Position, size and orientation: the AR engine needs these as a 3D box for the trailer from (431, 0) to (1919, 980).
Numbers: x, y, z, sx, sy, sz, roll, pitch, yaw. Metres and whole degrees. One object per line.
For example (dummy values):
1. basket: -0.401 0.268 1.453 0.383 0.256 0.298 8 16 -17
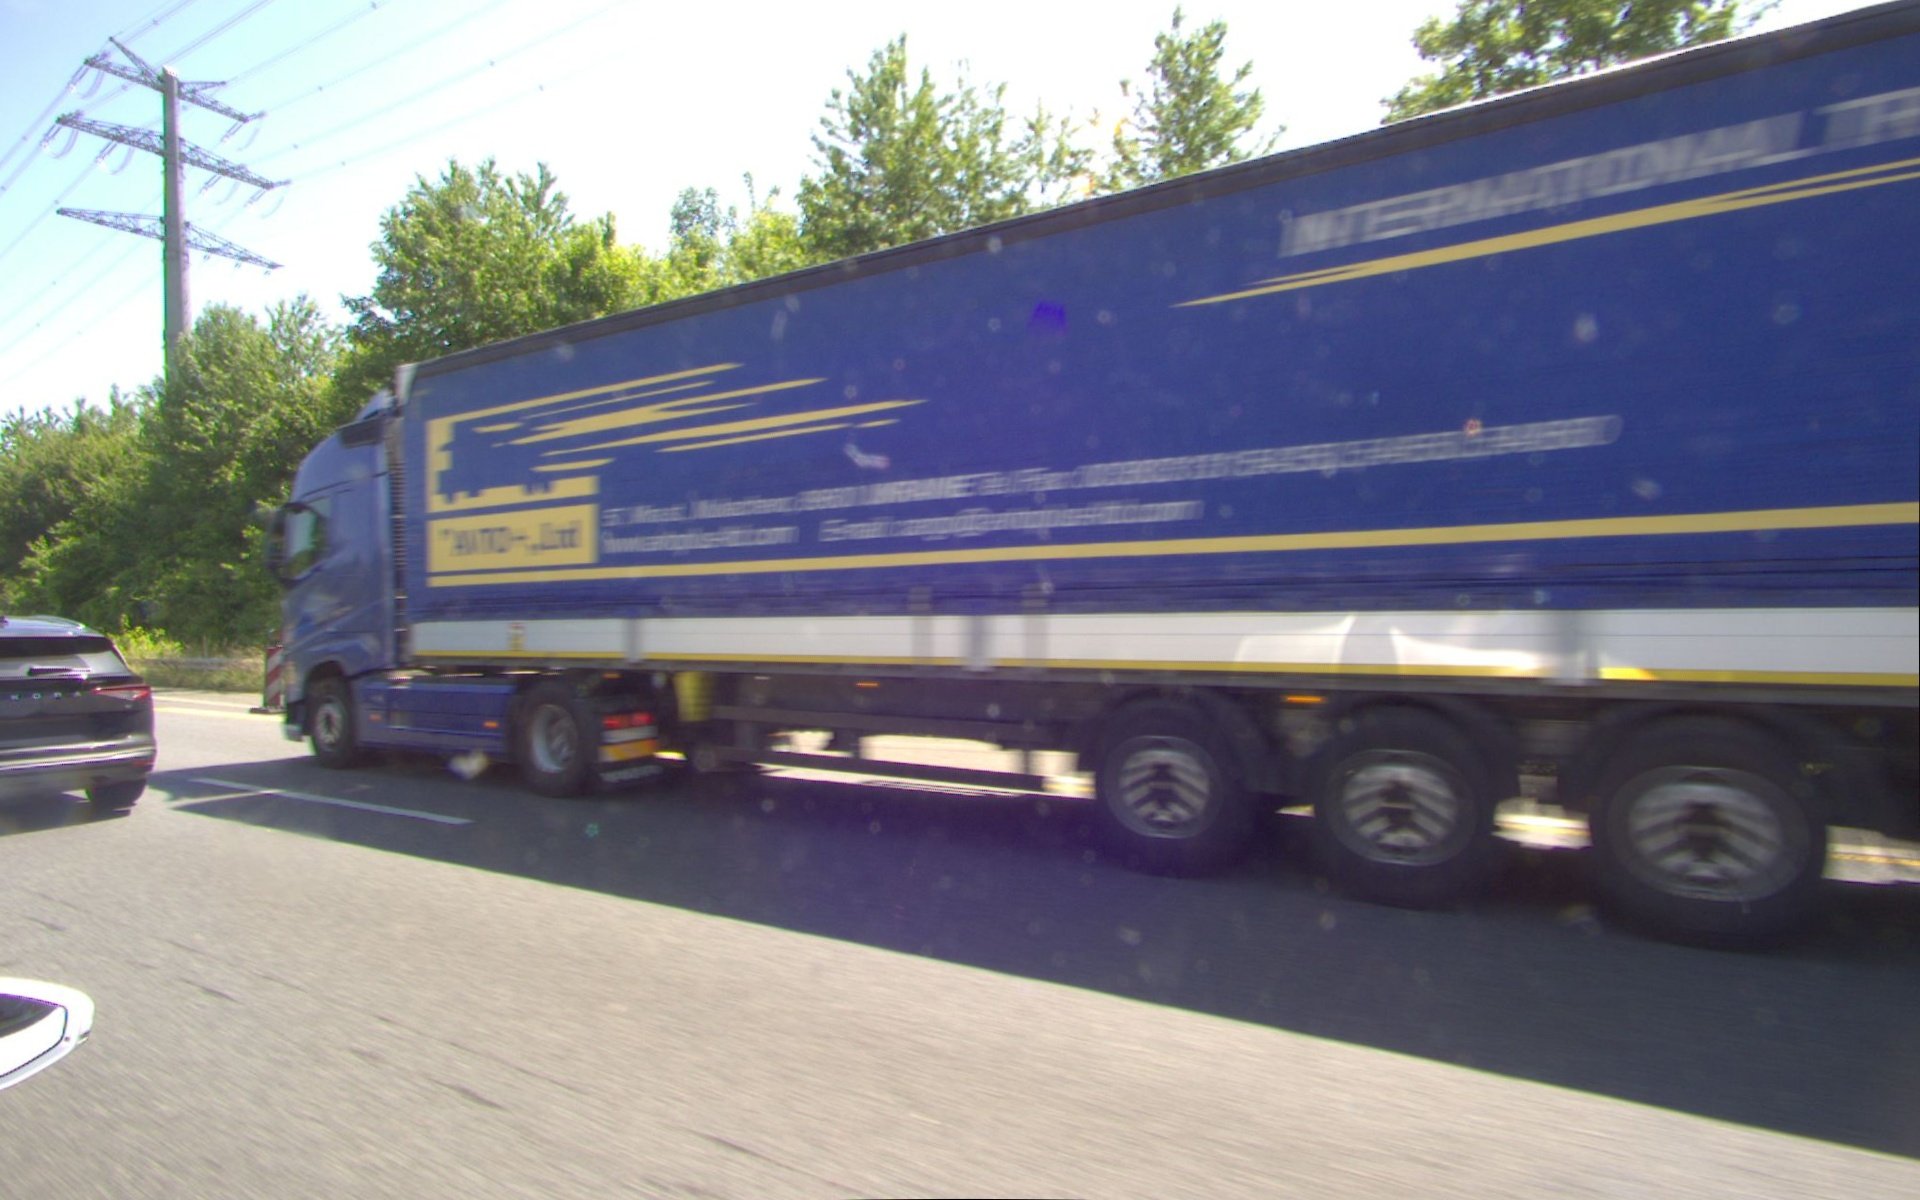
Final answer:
1. trailer: 1.110 -0.520 7.333 12.692 4.318 2.763 -1 -2 32

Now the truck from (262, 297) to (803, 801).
1. truck: -4.763 -0.334 11.000 5.555 4.197 2.781 -1 -2 32

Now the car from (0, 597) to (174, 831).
1. car: -8.660 0.866 8.473 4.364 1.676 1.699 -1 -2 31
